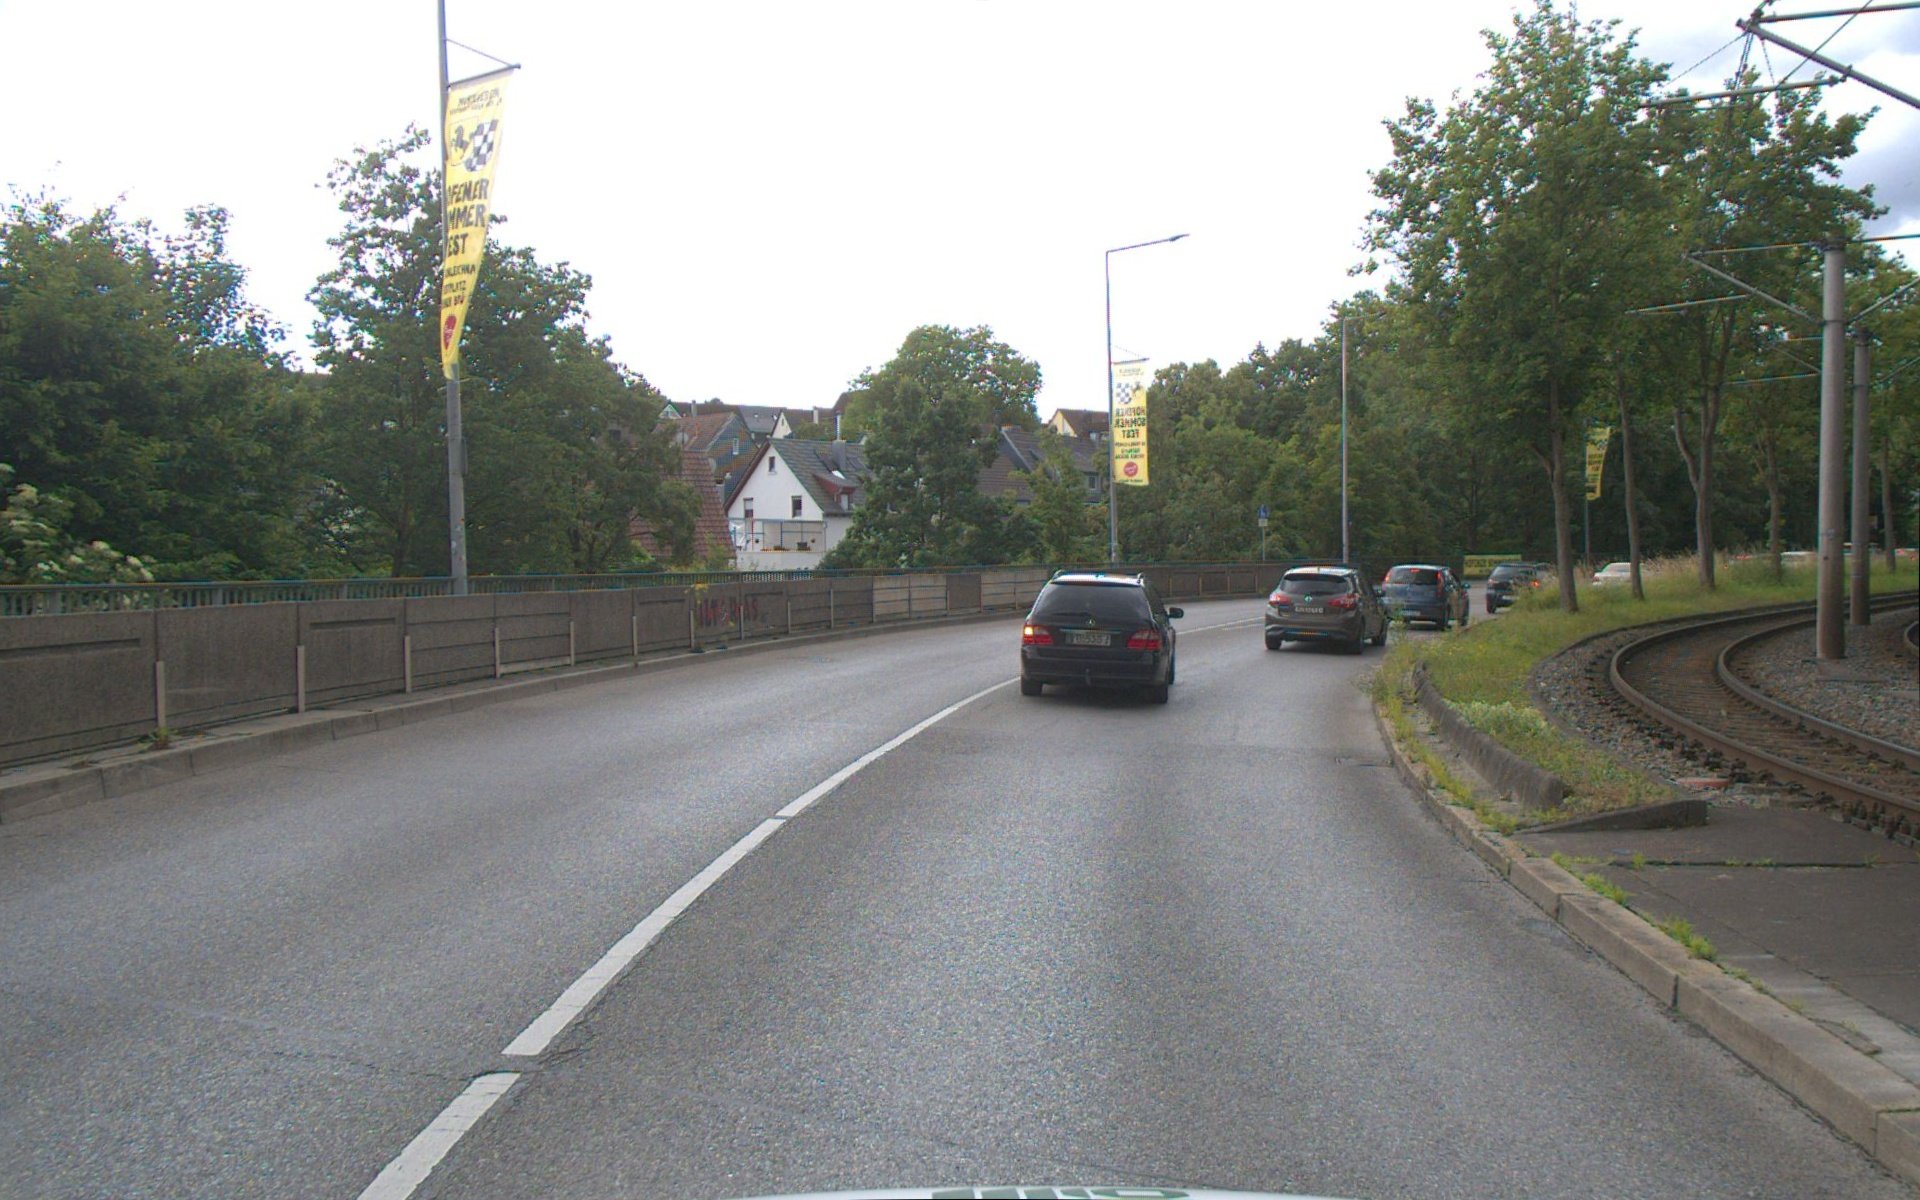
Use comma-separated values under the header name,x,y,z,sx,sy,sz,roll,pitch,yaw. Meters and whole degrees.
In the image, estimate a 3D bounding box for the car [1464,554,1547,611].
name,x,y,z,sx,sy,sz,roll,pitch,yaw
car,15.832,-0.509,47.913,1.548,1.565,3.993,0,1,29

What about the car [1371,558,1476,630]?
name,x,y,z,sx,sy,sz,roll,pitch,yaw
car,11.176,-0.167,39.684,1.855,1.601,3.998,1,1,24

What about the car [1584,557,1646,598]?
name,x,y,z,sx,sy,sz,roll,pitch,yaw
car,22.893,-0.788,57.735,1.473,1.388,3.579,0,1,31

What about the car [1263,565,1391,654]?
name,x,y,z,sx,sy,sz,roll,pitch,yaw
car,7.028,0.136,31.406,1.738,1.520,4.000,2,2,22

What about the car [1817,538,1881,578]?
name,x,y,z,sx,sy,sz,roll,pitch,yaw
car,43.703,-2.057,81.267,1.900,1.892,3.977,0,1,41

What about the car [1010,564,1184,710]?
name,x,y,z,sx,sy,sz,roll,pitch,yaw
car,1.827,0.369,20.787,1.812,1.511,4.425,2,2,9
